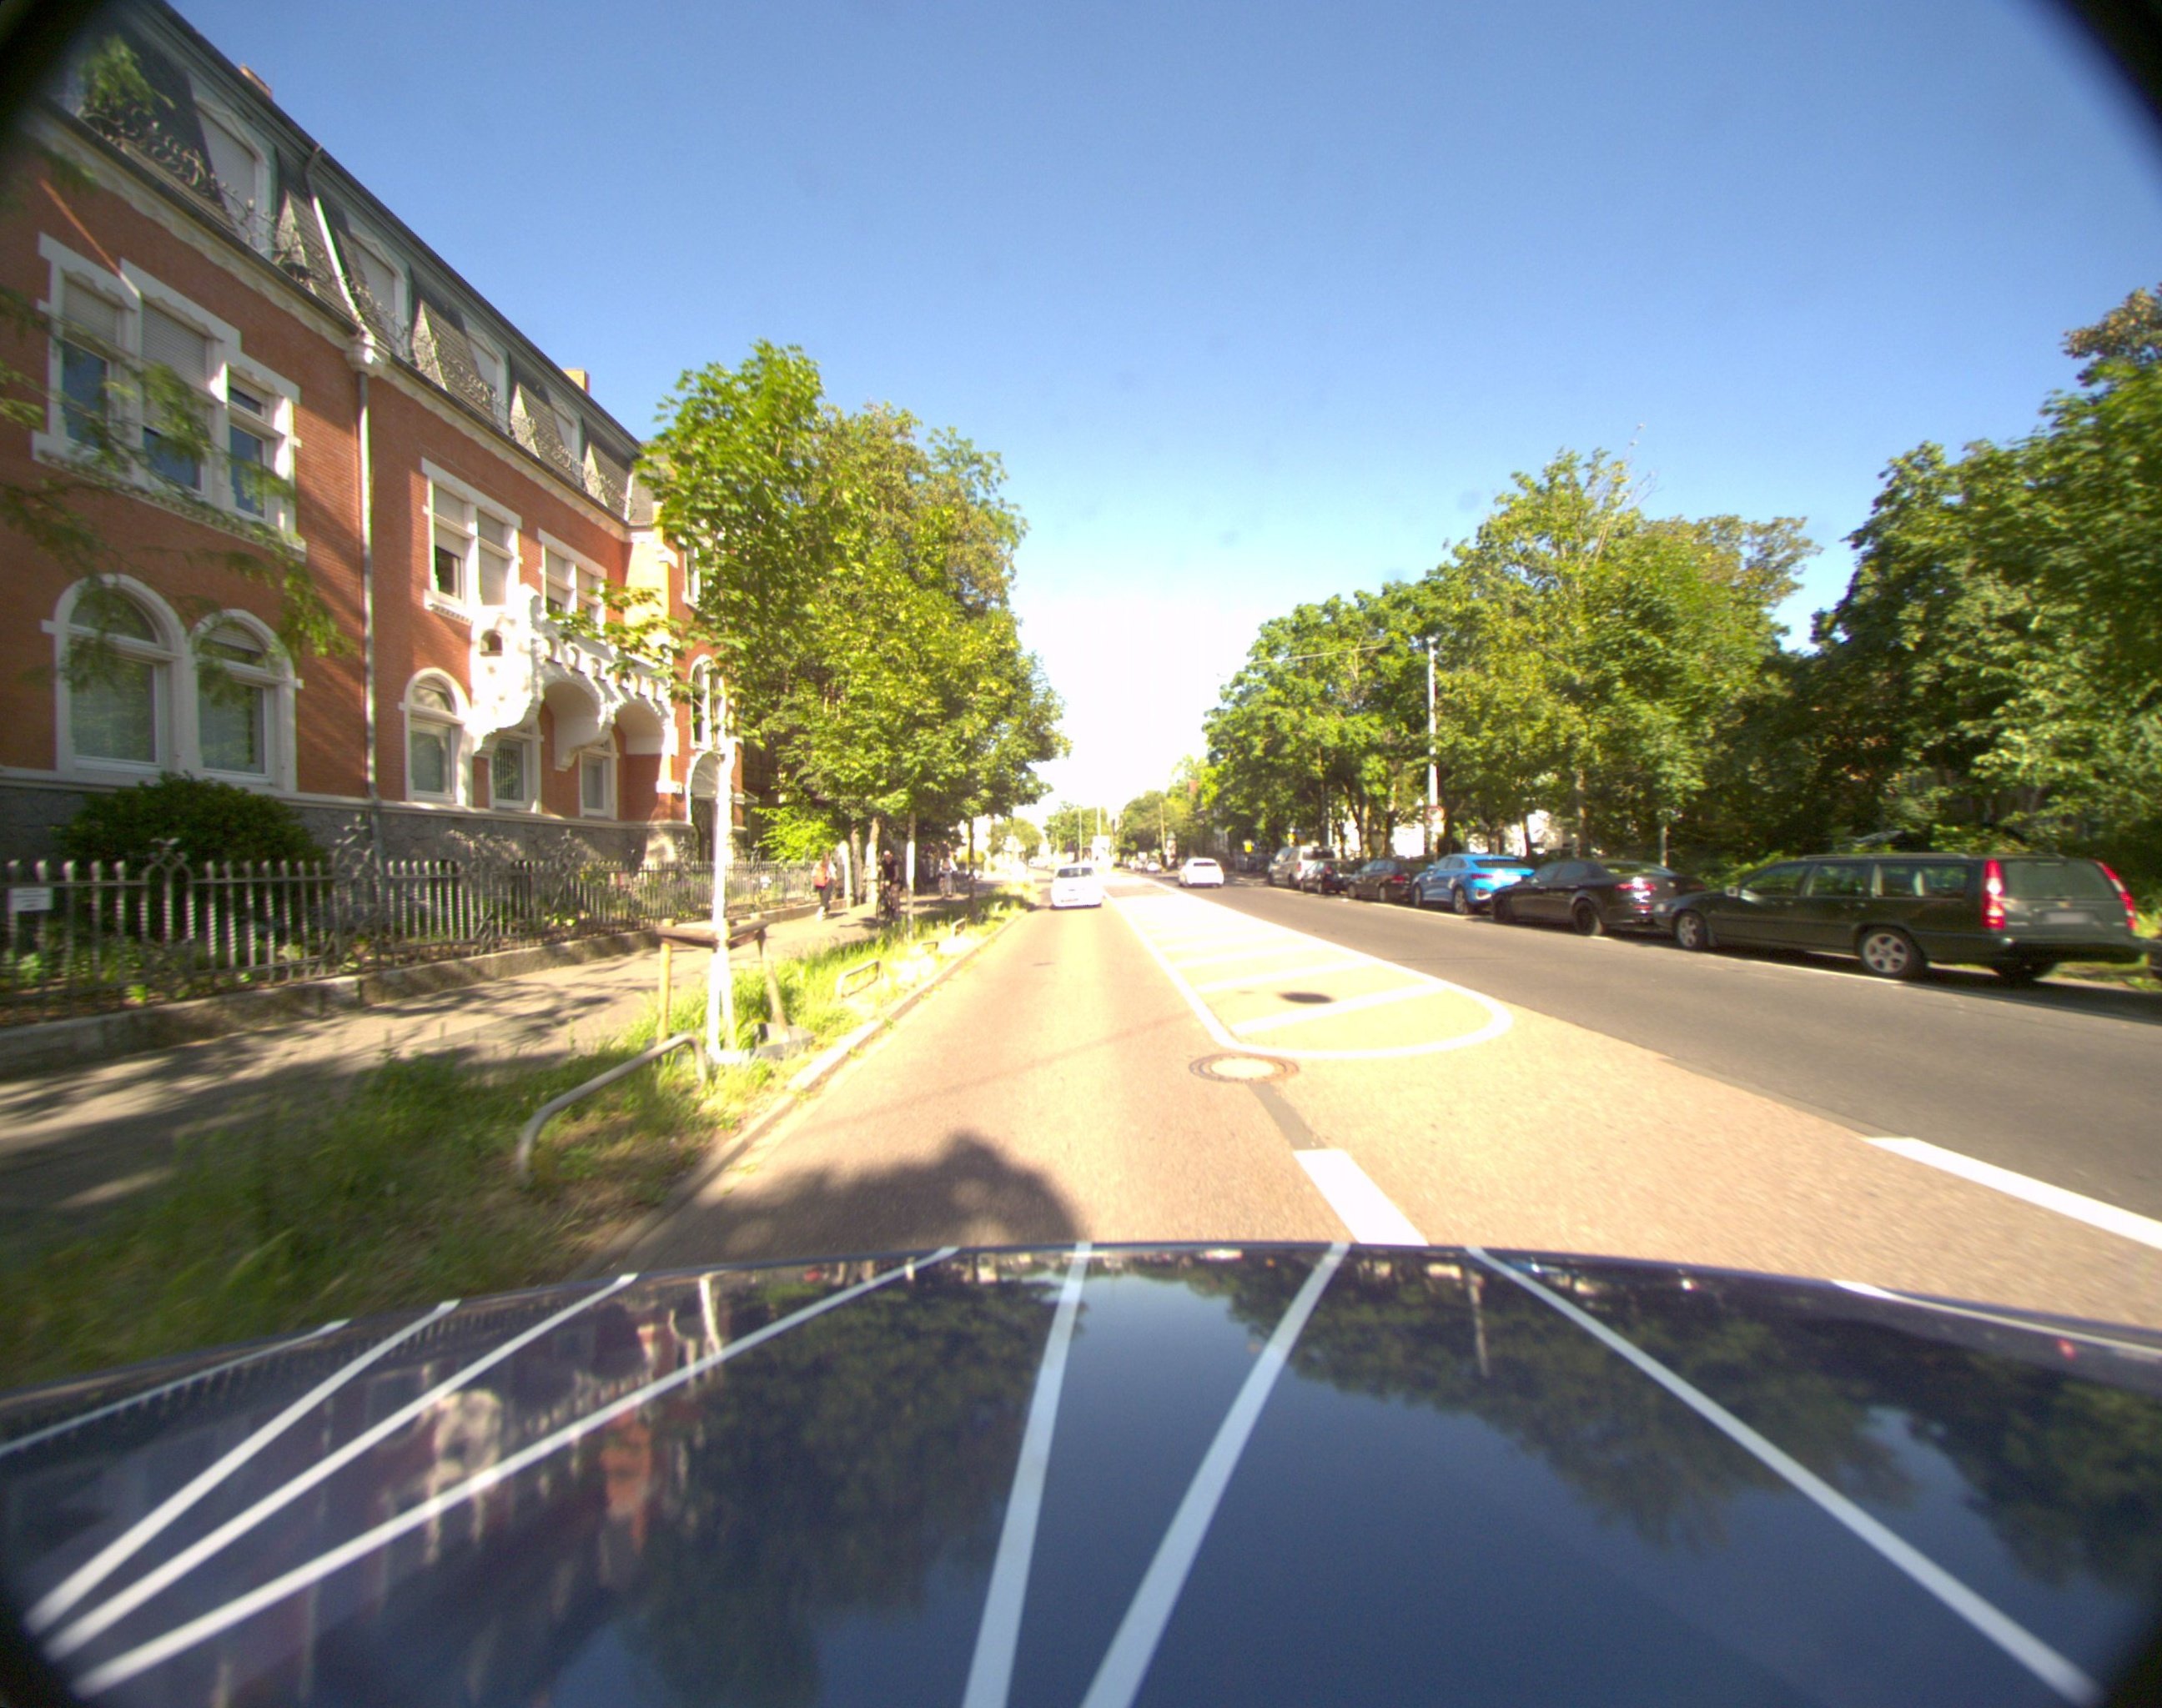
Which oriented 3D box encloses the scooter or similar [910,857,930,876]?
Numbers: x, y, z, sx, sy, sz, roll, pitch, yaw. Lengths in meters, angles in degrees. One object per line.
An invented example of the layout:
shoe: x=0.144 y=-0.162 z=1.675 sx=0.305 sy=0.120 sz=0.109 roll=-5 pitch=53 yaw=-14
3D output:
scooter or similar: x=-11.161 y=0.831 z=52.639 sx=0.759 sy=1.256 sz=1.411 roll=1 pitch=1 yaw=16

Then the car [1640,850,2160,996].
car: x=9.894 y=0.699 z=9.916 sx=1.698 sy=1.448 sz=4.663 roll=1 pitch=0 yaw=-1

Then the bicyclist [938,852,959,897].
bicyclist: x=-5.059 y=0.762 z=29.090 sx=0.622 sy=1.680 sz=0.820 roll=2 pitch=0 yaw=-3

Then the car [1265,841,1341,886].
car: x=10.613 y=0.440 z=36.713 sx=1.989 sy=2.024 sz=4.874 roll=1 pitch=0 yaw=-3

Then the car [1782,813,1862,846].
car: x=62.001 y=-2.011 z=63.714 sx=1.893 sy=2.607 sz=4.917 roll=0 pitch=0 yaw=0

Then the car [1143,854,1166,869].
car: x=7.700 y=0.762 z=80.205 sx=1.843 sy=1.482 sz=3.779 roll=0 pitch=0 yaw=-4

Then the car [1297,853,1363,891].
car: x=10.338 y=0.703 z=31.794 sx=1.467 sy=1.493 sz=3.958 roll=0 pitch=1 yaw=1

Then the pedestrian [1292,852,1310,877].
pedestrian: x=15.517 y=0.751 z=53.560 sx=0.872 sy=1.745 sz=0.819 roll=-2 pitch=1 yaw=-11

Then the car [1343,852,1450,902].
car: x=10.320 y=0.693 z=25.200 sx=1.594 sy=1.474 sz=4.270 roll=0 pitch=1 yaw=-3

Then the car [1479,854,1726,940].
car: x=9.790 y=0.723 z=14.777 sx=1.785 sy=1.405 sz=4.405 roll=1 pitch=0 yaw=0

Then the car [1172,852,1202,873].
car: x=7.586 y=0.602 z=54.466 sx=1.596 sy=1.441 sz=4.133 roll=-1 pitch=0 yaw=0

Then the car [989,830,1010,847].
car: x=-7.795 y=-1.437 z=72.963 sx=1.847 sy=1.432 sz=4.104 roll=2 pitch=0 yaw=-4

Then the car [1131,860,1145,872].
car: x=7.677 y=1.557 z=102.510 sx=1.808 sy=1.485 sz=4.714 roll=-1 pitch=0 yaw=3

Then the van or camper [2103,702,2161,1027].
van or camper: x=10.173 y=0.065 z=3.699 sx=2.222 sy=2.723 sz=6.088 roll=-1 pitch=0 yaw=0

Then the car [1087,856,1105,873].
car: x=1.675 y=1.147 z=86.382 sx=1.694 sy=1.862 sz=3.560 roll=0 pitch=0 yaw=-3

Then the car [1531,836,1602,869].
car: x=34.057 y=-0.082 z=53.518 sx=1.893 sy=2.233 sz=4.917 roll=0 pitch=0 yaw=1

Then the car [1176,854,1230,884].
car: x=6.068 y=0.715 z=38.267 sx=1.923 sy=1.411 sz=4.224 roll=-1 pitch=0 yaw=-1

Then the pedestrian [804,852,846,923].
pedestrian: x=-6.122 y=0.787 z=18.203 sx=0.696 sy=1.649 sz=0.820 roll=2 pitch=1 yaw=0

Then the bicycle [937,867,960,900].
bicycle: x=-5.073 y=1.103 z=29.094 sx=0.617 sy=1.169 sz=1.918 roll=2 pitch=0 yaw=-3

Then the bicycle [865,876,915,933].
bicycle: x=-4.357 y=1.125 z=17.416 sx=0.654 sy=1.169 sz=1.843 roll=2 pitch=0 yaw=-1

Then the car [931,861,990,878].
car: x=-9.815 y=1.244 z=61.937 sx=4.417 sy=1.409 sz=2.047 roll=0 pitch=0 yaw=2

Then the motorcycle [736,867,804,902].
motorcycle: x=-9.982 y=0.970 z=24.446 sx=1.879 sy=1.026 sz=0.782 roll=1 pitch=2 yaw=9

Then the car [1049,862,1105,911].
car: x=-0.056 y=1.063 z=26.231 sx=1.652 sy=1.449 sz=3.897 roll=-3 pitch=0 yaw=3

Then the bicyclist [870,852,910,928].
bicyclist: x=-4.340 y=0.803 z=17.312 sx=0.647 sy=1.685 sz=0.889 roll=2 pitch=0 yaw=0

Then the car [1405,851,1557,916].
car: x=10.415 y=0.684 z=20.234 sx=1.784 sy=1.529 sz=4.559 roll=0 pitch=0 yaw=2
